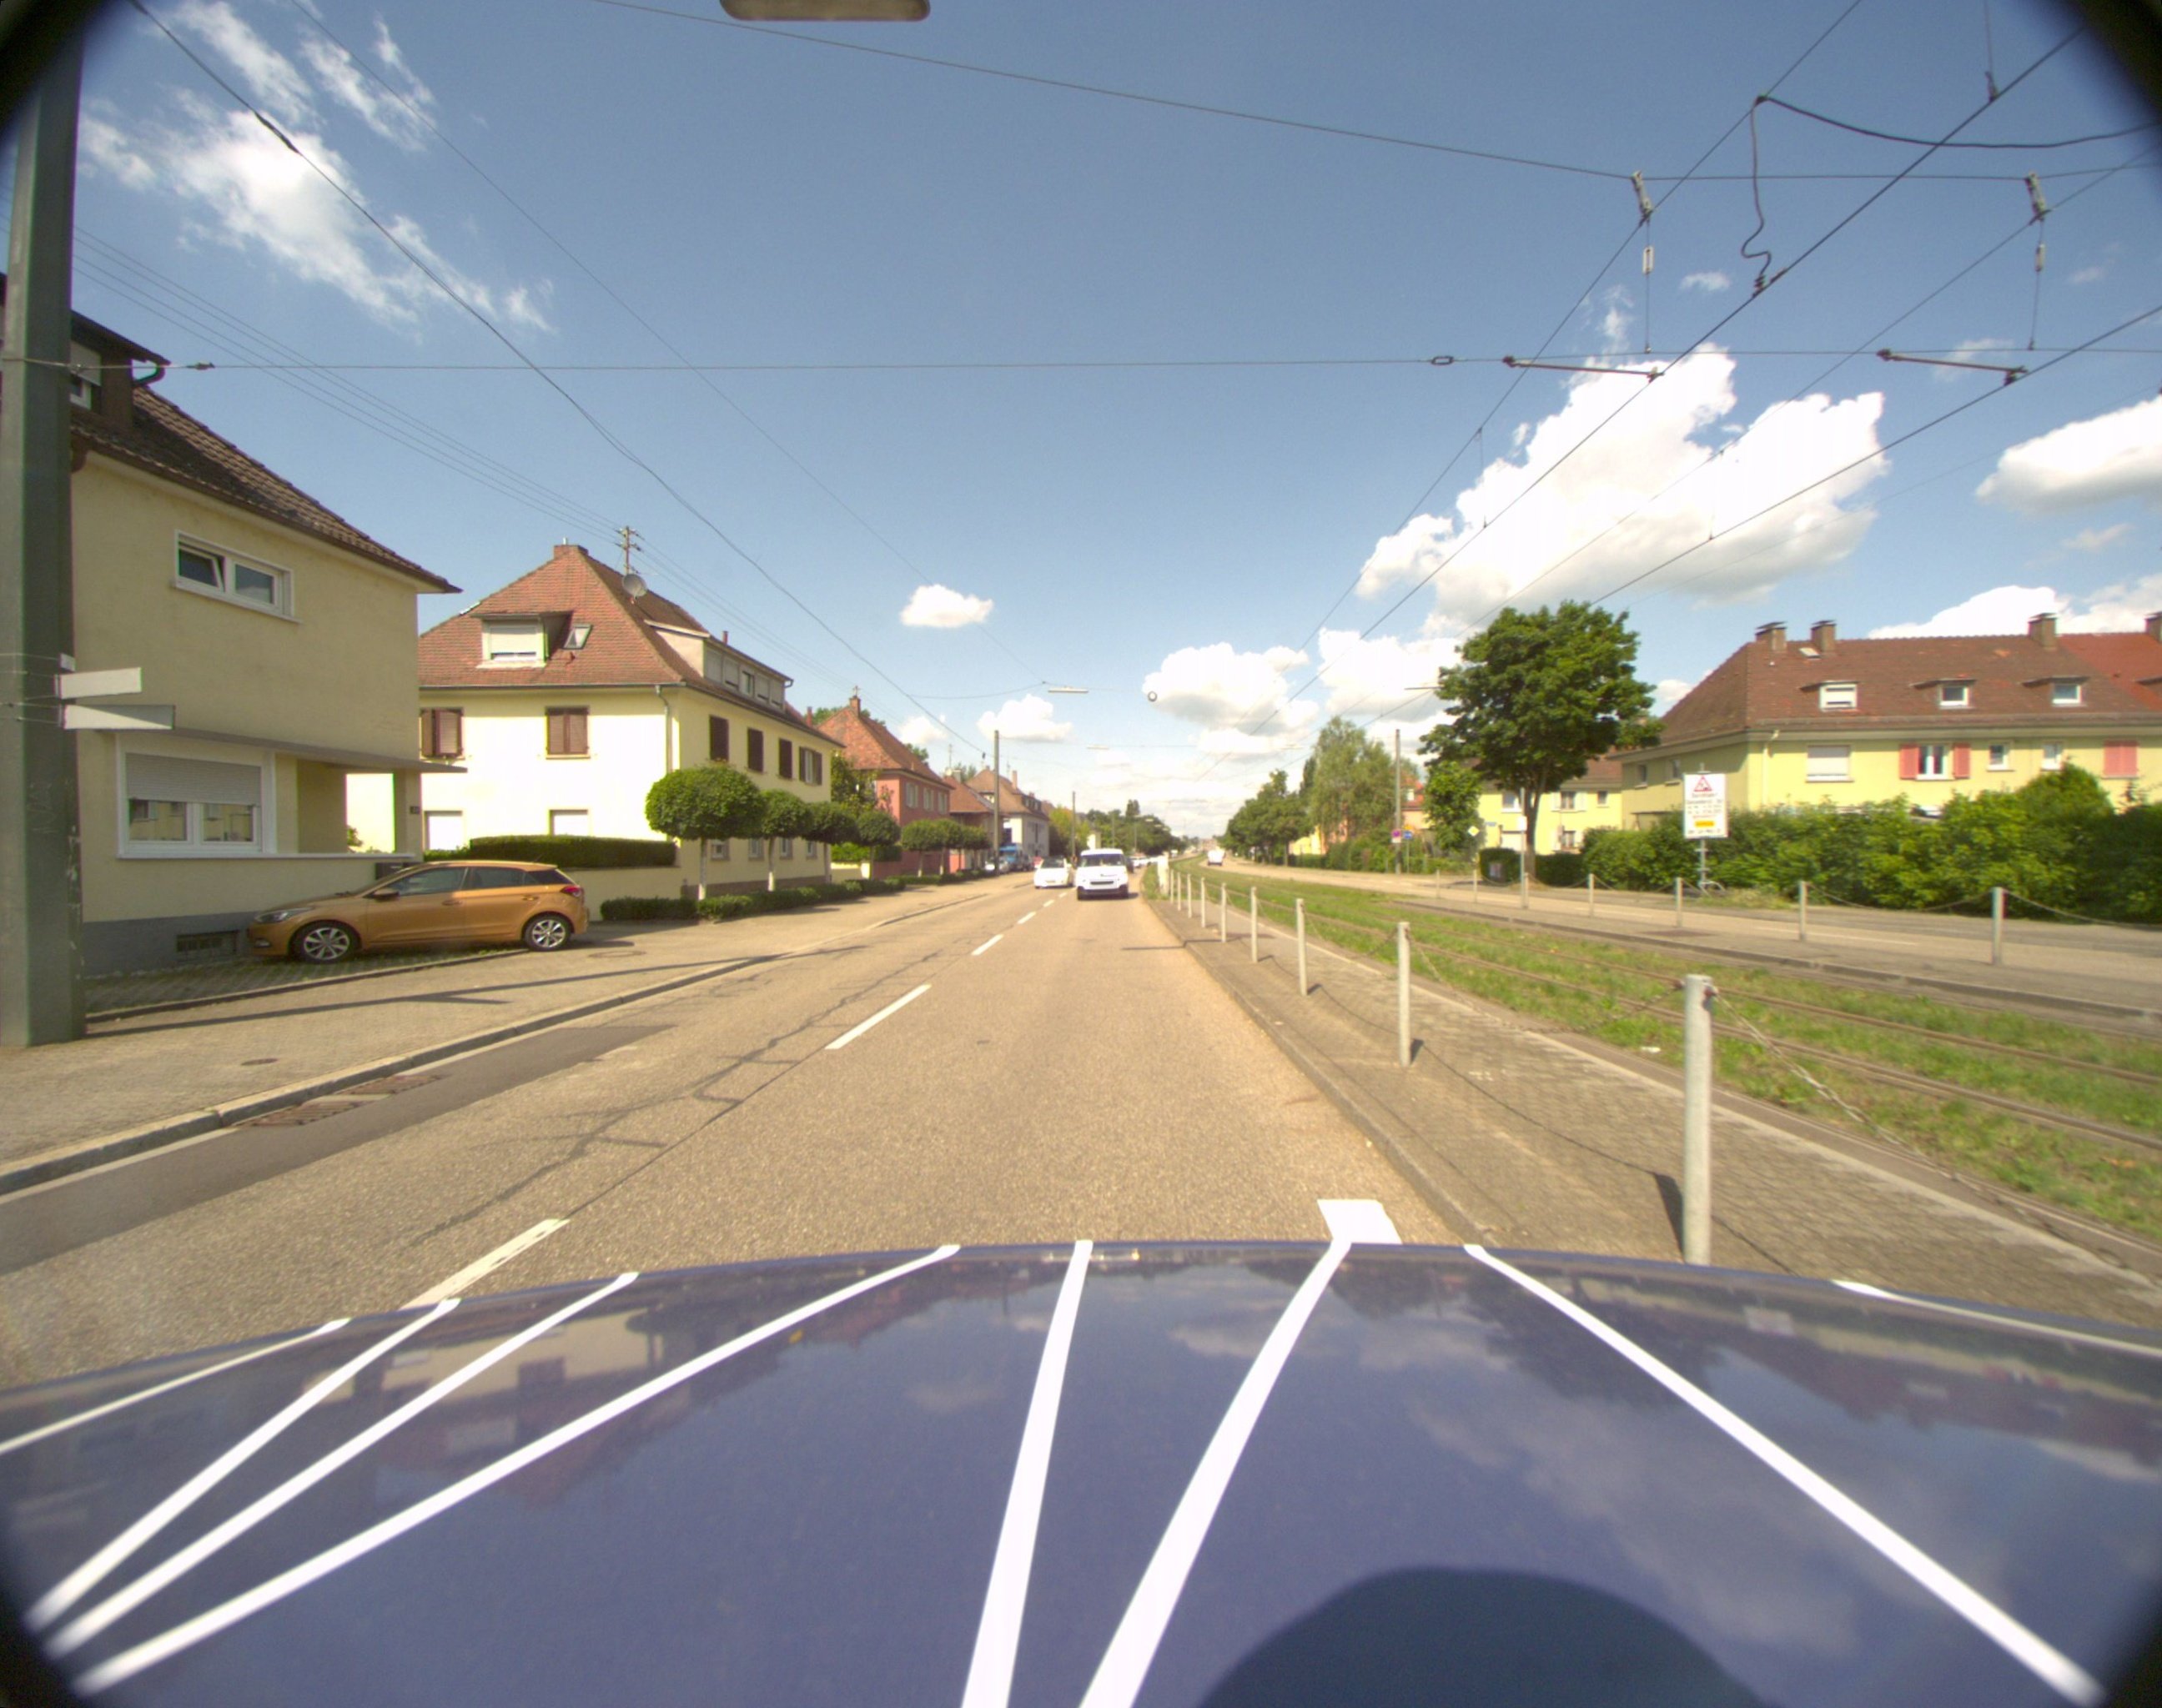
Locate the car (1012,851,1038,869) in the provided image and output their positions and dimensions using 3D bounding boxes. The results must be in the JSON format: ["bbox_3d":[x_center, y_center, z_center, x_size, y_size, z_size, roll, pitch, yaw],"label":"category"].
[{"bbox_3d":[-5.664,0.604,77.819,1.840,1.701,4.866,1,0,5],"label":"car"}]

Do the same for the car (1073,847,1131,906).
[{"bbox_3d":[0.810,0.725,26.784,1.777,1.850,4.376,-2,0,4],"label":"car"}]

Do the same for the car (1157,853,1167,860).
[{"bbox_3d":[17.838,0.542,167.228,1.997,1.477,4.002,-2,1,8],"label":"car"}]

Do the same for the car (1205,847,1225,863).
[{"bbox_3d":[20.303,0.180,115.619,2.201,2.358,5.332,1,1,2],"label":"car"}]

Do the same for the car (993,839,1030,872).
[{"bbox_3d":[-6.499,0.066,71.612,2.156,2.913,6.246,-2,1,6],"label":"car"}]

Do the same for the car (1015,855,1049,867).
[{"bbox_3d":[-5.665,0.809,88.137,3.657,1.372,1.727,-1,1,4],"label":"car"}]

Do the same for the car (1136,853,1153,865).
[{"bbox_3d":[8.949,0.700,106.944,1.997,1.576,4.002,-2,1,10],"label":"car"}]

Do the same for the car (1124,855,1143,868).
[{"bbox_3d":[6.339,0.875,92.035,1.997,1.477,4.002,-2,1,8],"label":"car"}]

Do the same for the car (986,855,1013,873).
[{"bbox_3d":[-6.901,0.809,64.728,1.653,1.401,4.350,0,1,2],"label":"car"}]

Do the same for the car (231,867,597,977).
[{"bbox_3d":[-10.253,0.948,12.094,4.102,1.449,1.911,1,-1,-39],"label":"car"}]

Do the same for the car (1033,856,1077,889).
[{"bbox_3d":[-1.285,0.911,39.273,1.777,1.540,4.001,-2,0,4],"label":"car"}]

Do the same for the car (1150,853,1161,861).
[{"bbox_3d":[14.741,0.576,150.331,1.997,1.477,4.002,-2,1,8],"label":"car"}]
